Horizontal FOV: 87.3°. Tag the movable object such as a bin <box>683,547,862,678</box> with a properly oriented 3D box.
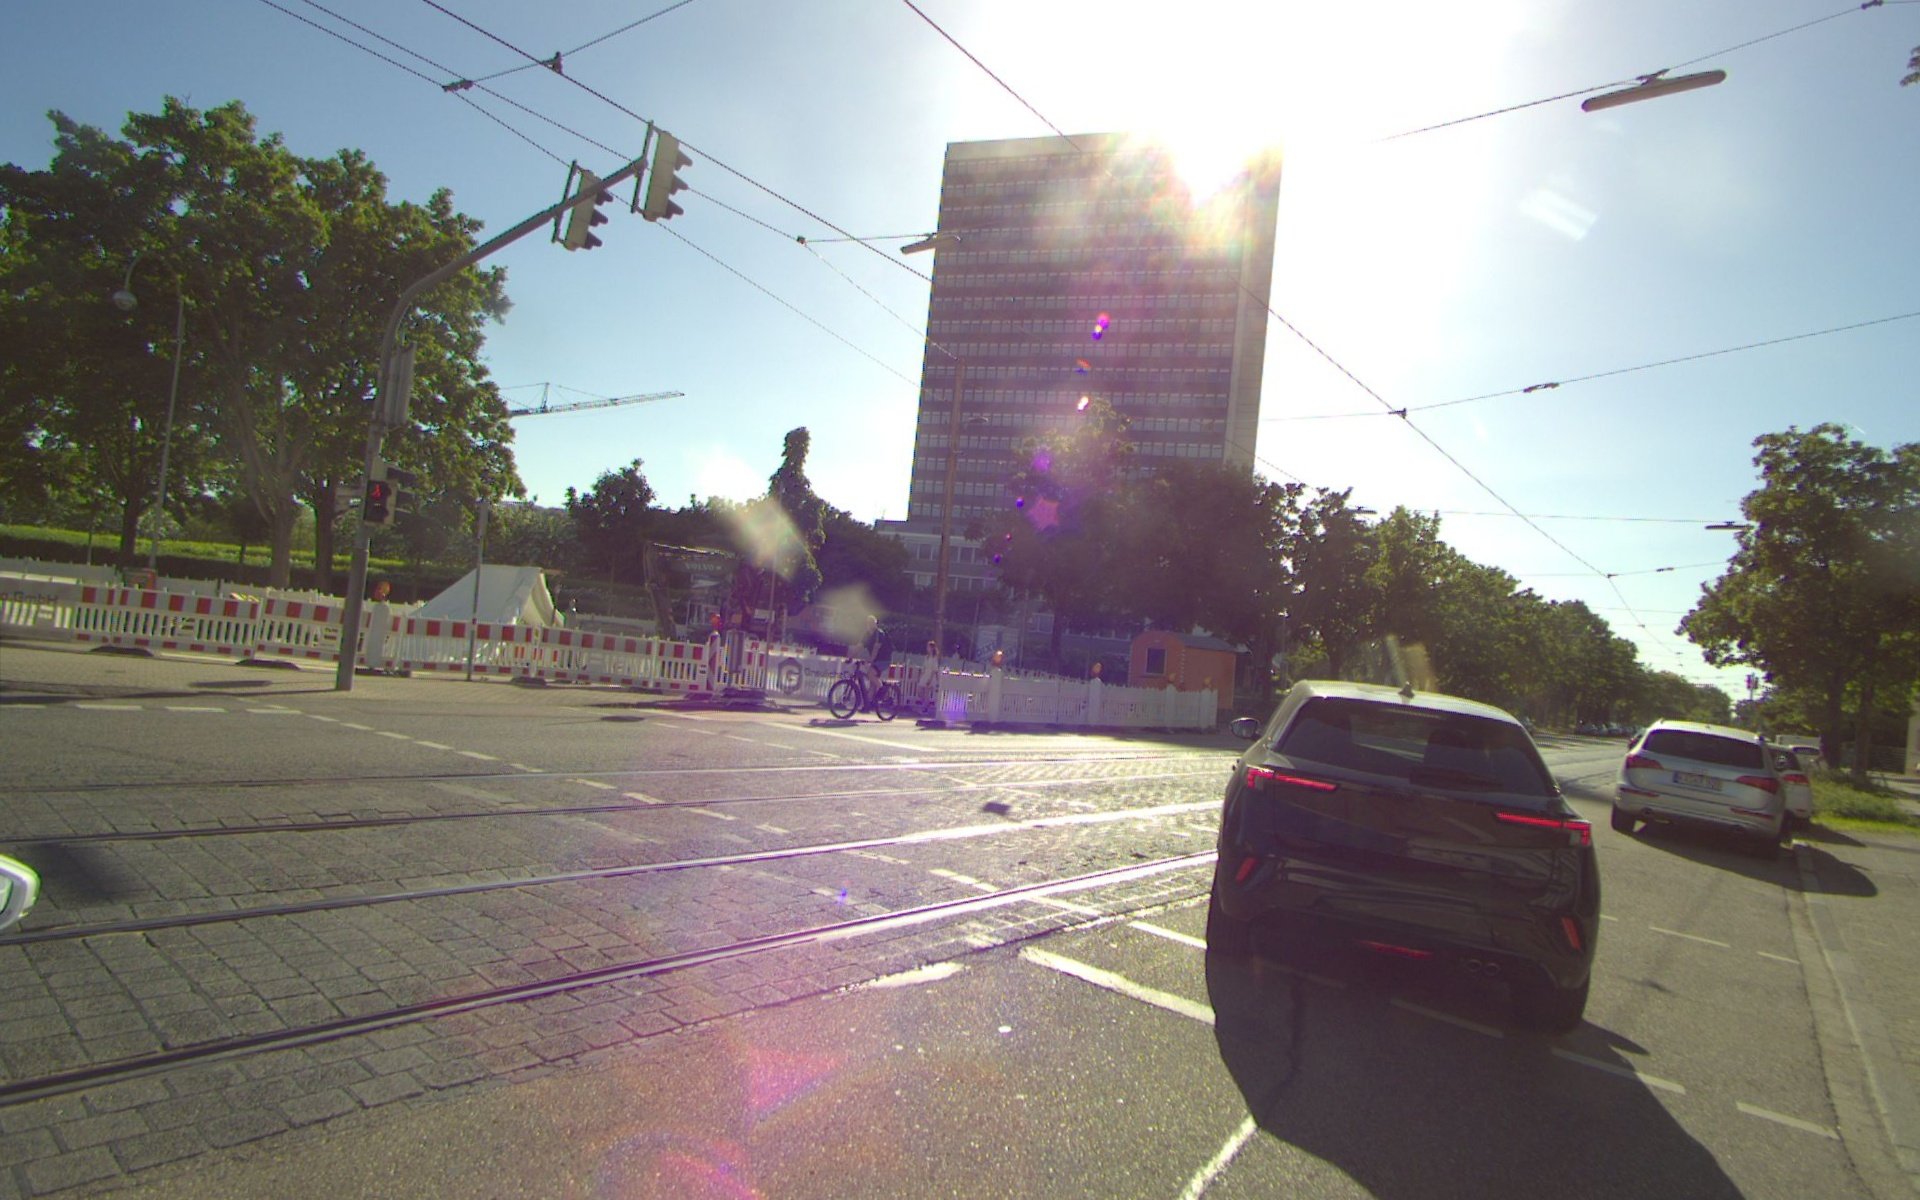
[{"bbox_3d":[-5.689,0.465,31.149,2.788,3.400,4.707,4,-4,30],"label":"movable object such as a bin"}]

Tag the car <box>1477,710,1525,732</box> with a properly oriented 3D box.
[{"bbox_3d":[39.471,8.829,73.401,2.899,1.264,1.403,4,-4,36],"label":"car"}]

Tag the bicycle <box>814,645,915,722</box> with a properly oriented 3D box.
[{"bbox_3d":[-1.734,1.557,18.573,0.646,1.281,1.775,6,-1,42],"label":"bicycle"}]

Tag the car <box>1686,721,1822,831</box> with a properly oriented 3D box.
[{"bbox_3d":[14.604,3.164,18.664,1.630,1.550,3.499,7,-1,35],"label":"car"}]

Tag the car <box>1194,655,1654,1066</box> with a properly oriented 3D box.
[{"bbox_3d":[2.595,1.274,6.287,1.754,1.534,3.760,6,-3,18],"label":"car"}]

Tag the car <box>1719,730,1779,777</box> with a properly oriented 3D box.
[{"bbox_3d":[32.869,6.366,41.949,1.783,1.566,3.524,6,-1,38],"label":"car"}]

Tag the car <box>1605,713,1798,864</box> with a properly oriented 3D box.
[{"bbox_3d":[10.876,2.599,14.749,1.908,1.639,4.307,5,-2,38],"label":"car"}]

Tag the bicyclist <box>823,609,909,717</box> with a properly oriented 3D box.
[{"bbox_3d":[-1.731,1.172,18.606,0.901,1.852,1.092,5,-1,40],"label":"bicyclist"}]

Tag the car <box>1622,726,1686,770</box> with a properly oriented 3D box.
[{"bbox_3d":[29.213,6.204,42.304,1.785,1.519,3.861,4,-3,40],"label":"car"}]

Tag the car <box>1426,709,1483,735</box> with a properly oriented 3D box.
[{"bbox_3d":[29.474,7.249,59.972,2.860,1.190,1.252,4,-4,36],"label":"car"}]

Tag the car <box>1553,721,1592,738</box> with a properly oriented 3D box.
[{"bbox_3d":[62.850,13.321,103.191,3.287,1.302,1.301,4,-4,36],"label":"car"}]

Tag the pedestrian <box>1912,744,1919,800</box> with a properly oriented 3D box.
[{"bbox_3d":[28.298,5.040,29.158,0.928,1.571,0.868,7,-2,-42],"label":"pedestrian"}]

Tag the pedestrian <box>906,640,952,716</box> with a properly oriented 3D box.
[{"bbox_3d":[-0.707,1.761,22.768,0.635,1.619,0.627,7,-2,-44],"label":"pedestrian"}]

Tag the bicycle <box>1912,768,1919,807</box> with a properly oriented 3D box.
[{"bbox_3d":[28.196,5.460,29.088,2.179,1.073,0.800,9,-3,-43],"label":"bicycle"}]

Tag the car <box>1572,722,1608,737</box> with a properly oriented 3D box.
[{"bbox_3d":[69.778,14.325,111.433,3.287,1.264,1.448,4,-4,36],"label":"car"}]

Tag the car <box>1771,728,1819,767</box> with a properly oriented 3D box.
[{"bbox_3d":[43.677,7.697,52.652,1.785,1.694,3.861,4,-3,40],"label":"car"}]
